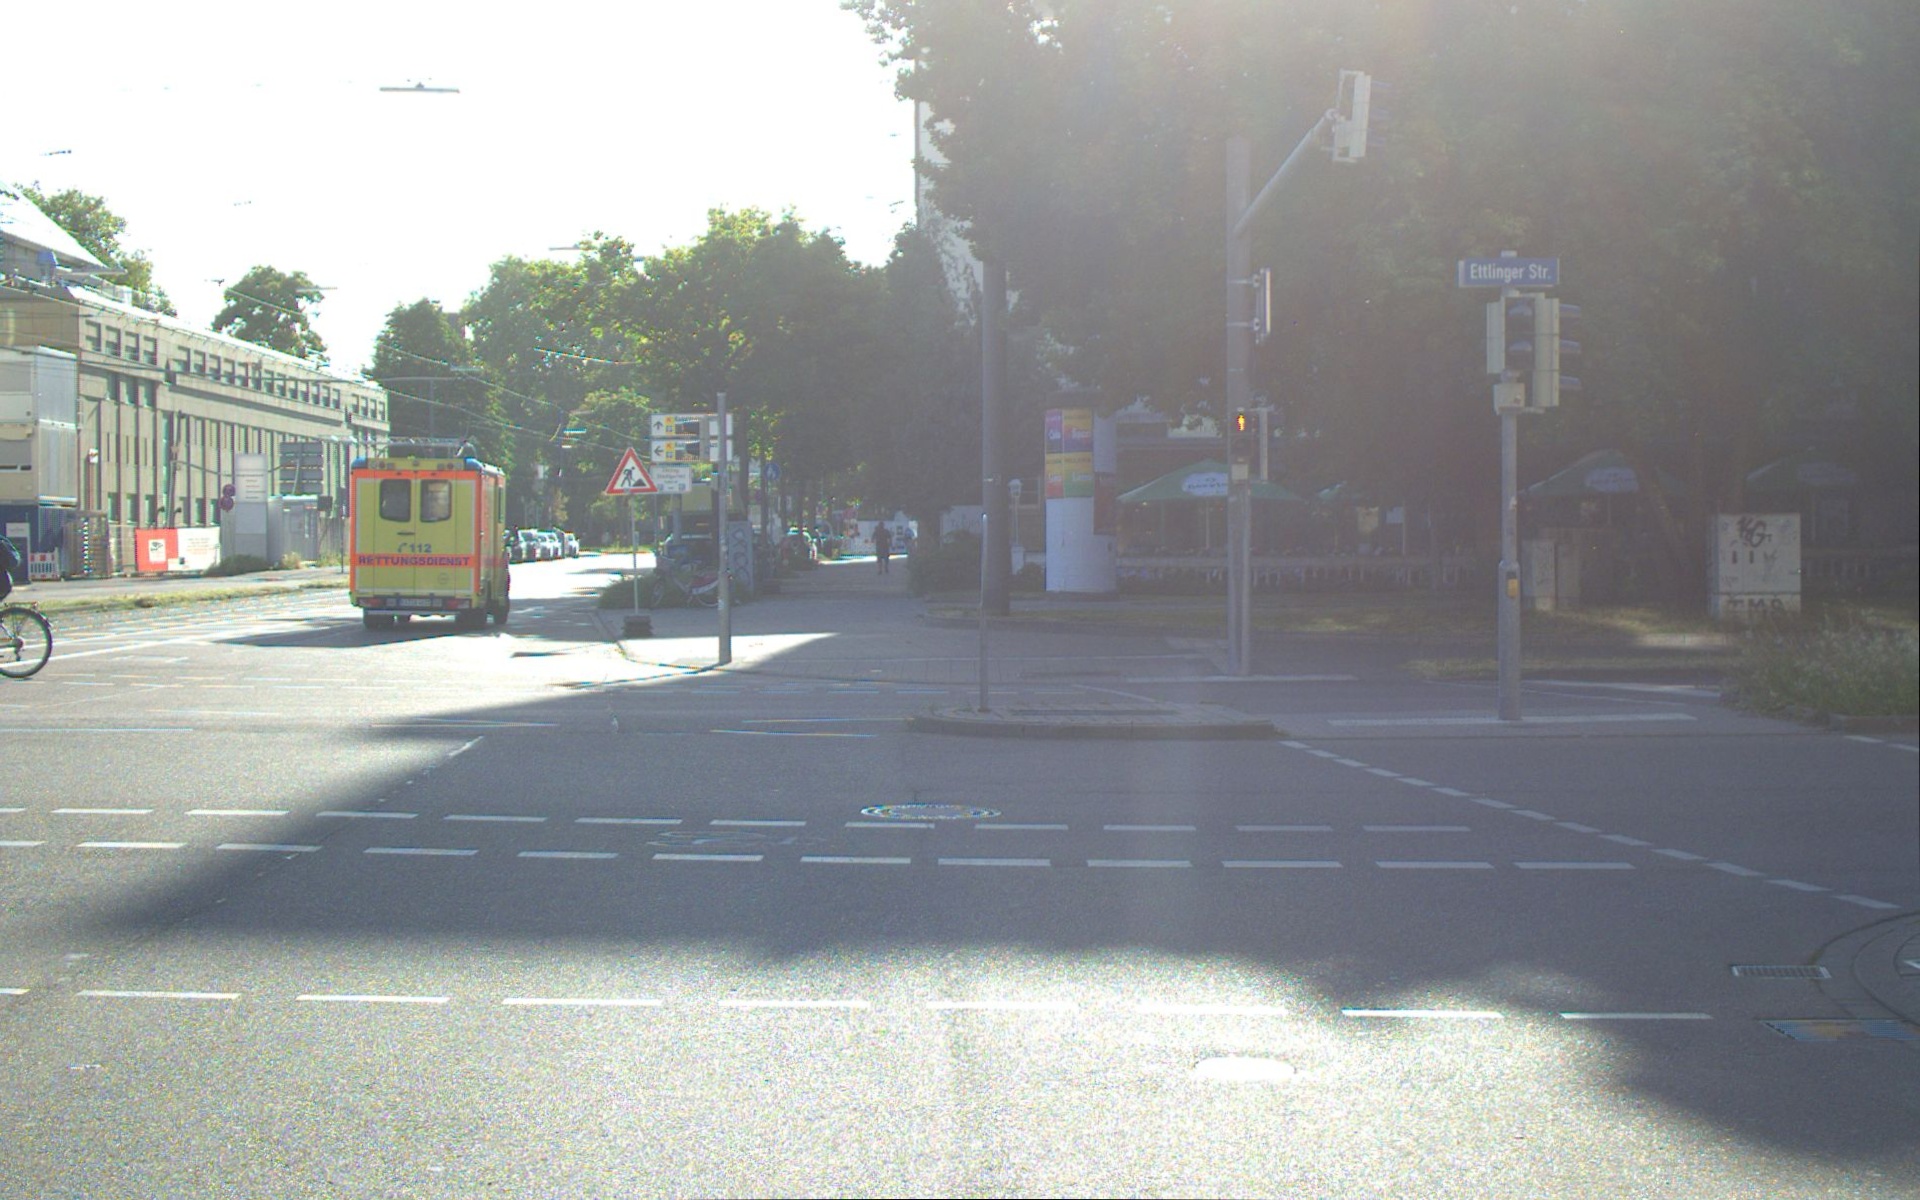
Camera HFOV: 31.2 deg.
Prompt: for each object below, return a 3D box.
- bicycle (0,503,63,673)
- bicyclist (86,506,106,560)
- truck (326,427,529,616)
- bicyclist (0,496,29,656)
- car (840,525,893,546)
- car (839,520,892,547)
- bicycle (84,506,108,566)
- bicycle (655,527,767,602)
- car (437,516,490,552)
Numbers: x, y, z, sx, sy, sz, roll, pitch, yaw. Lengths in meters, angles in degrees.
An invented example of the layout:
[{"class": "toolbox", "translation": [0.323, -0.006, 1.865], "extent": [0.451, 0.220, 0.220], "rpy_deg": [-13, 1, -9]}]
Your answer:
[{"class": "bicycle", "translation": [-10.258, -0.122, 35.394], "extent": [1.897, 1.729, 0.597], "rpy_deg": [-1, 1, -8]}, {"class": "bicyclist", "translation": [-32.710, -2.525, 130.132], "extent": [0.571, 2.017, 0.762], "rpy_deg": [0, 1, -2]}, {"class": "truck", "translation": [-8.880, -1.309, 57.967], "extent": [2.716, 3.005, 6.490], "rpy_deg": [0, 1, -3]}, {"class": "bicyclist", "translation": [-10.191, -0.244, 35.399], "extent": [1.074, 1.635, 0.597], "rpy_deg": [-1, 1, -8]}, {"class": "car", "translation": [-5.729, -3.975, 211.155], "extent": [3.217, 1.259, 1.373], "rpy_deg": [1, 0, -1]}, {"class": "car", "translation": [-5.855, -4.133, 213.421], "extent": [3.214, 1.583, 1.446], "rpy_deg": [1, 0, -4]}, {"class": "bicycle", "translation": [-32.710, -2.422, 130.135], "extent": [0.571, 2.288, 1.422], "rpy_deg": [0, 1, -2]}, {"class": "bicycle", "translation": [-5.875, -0.841, 81.332], "extent": [2.547, 1.737, 1.037], "rpy_deg": [1, 0, 0]}, {"class": "car", "translation": [-22.601, -3.006, 156.644], "extent": [1.894, 1.601, 4.501], "rpy_deg": [0, 1, -2]}]
